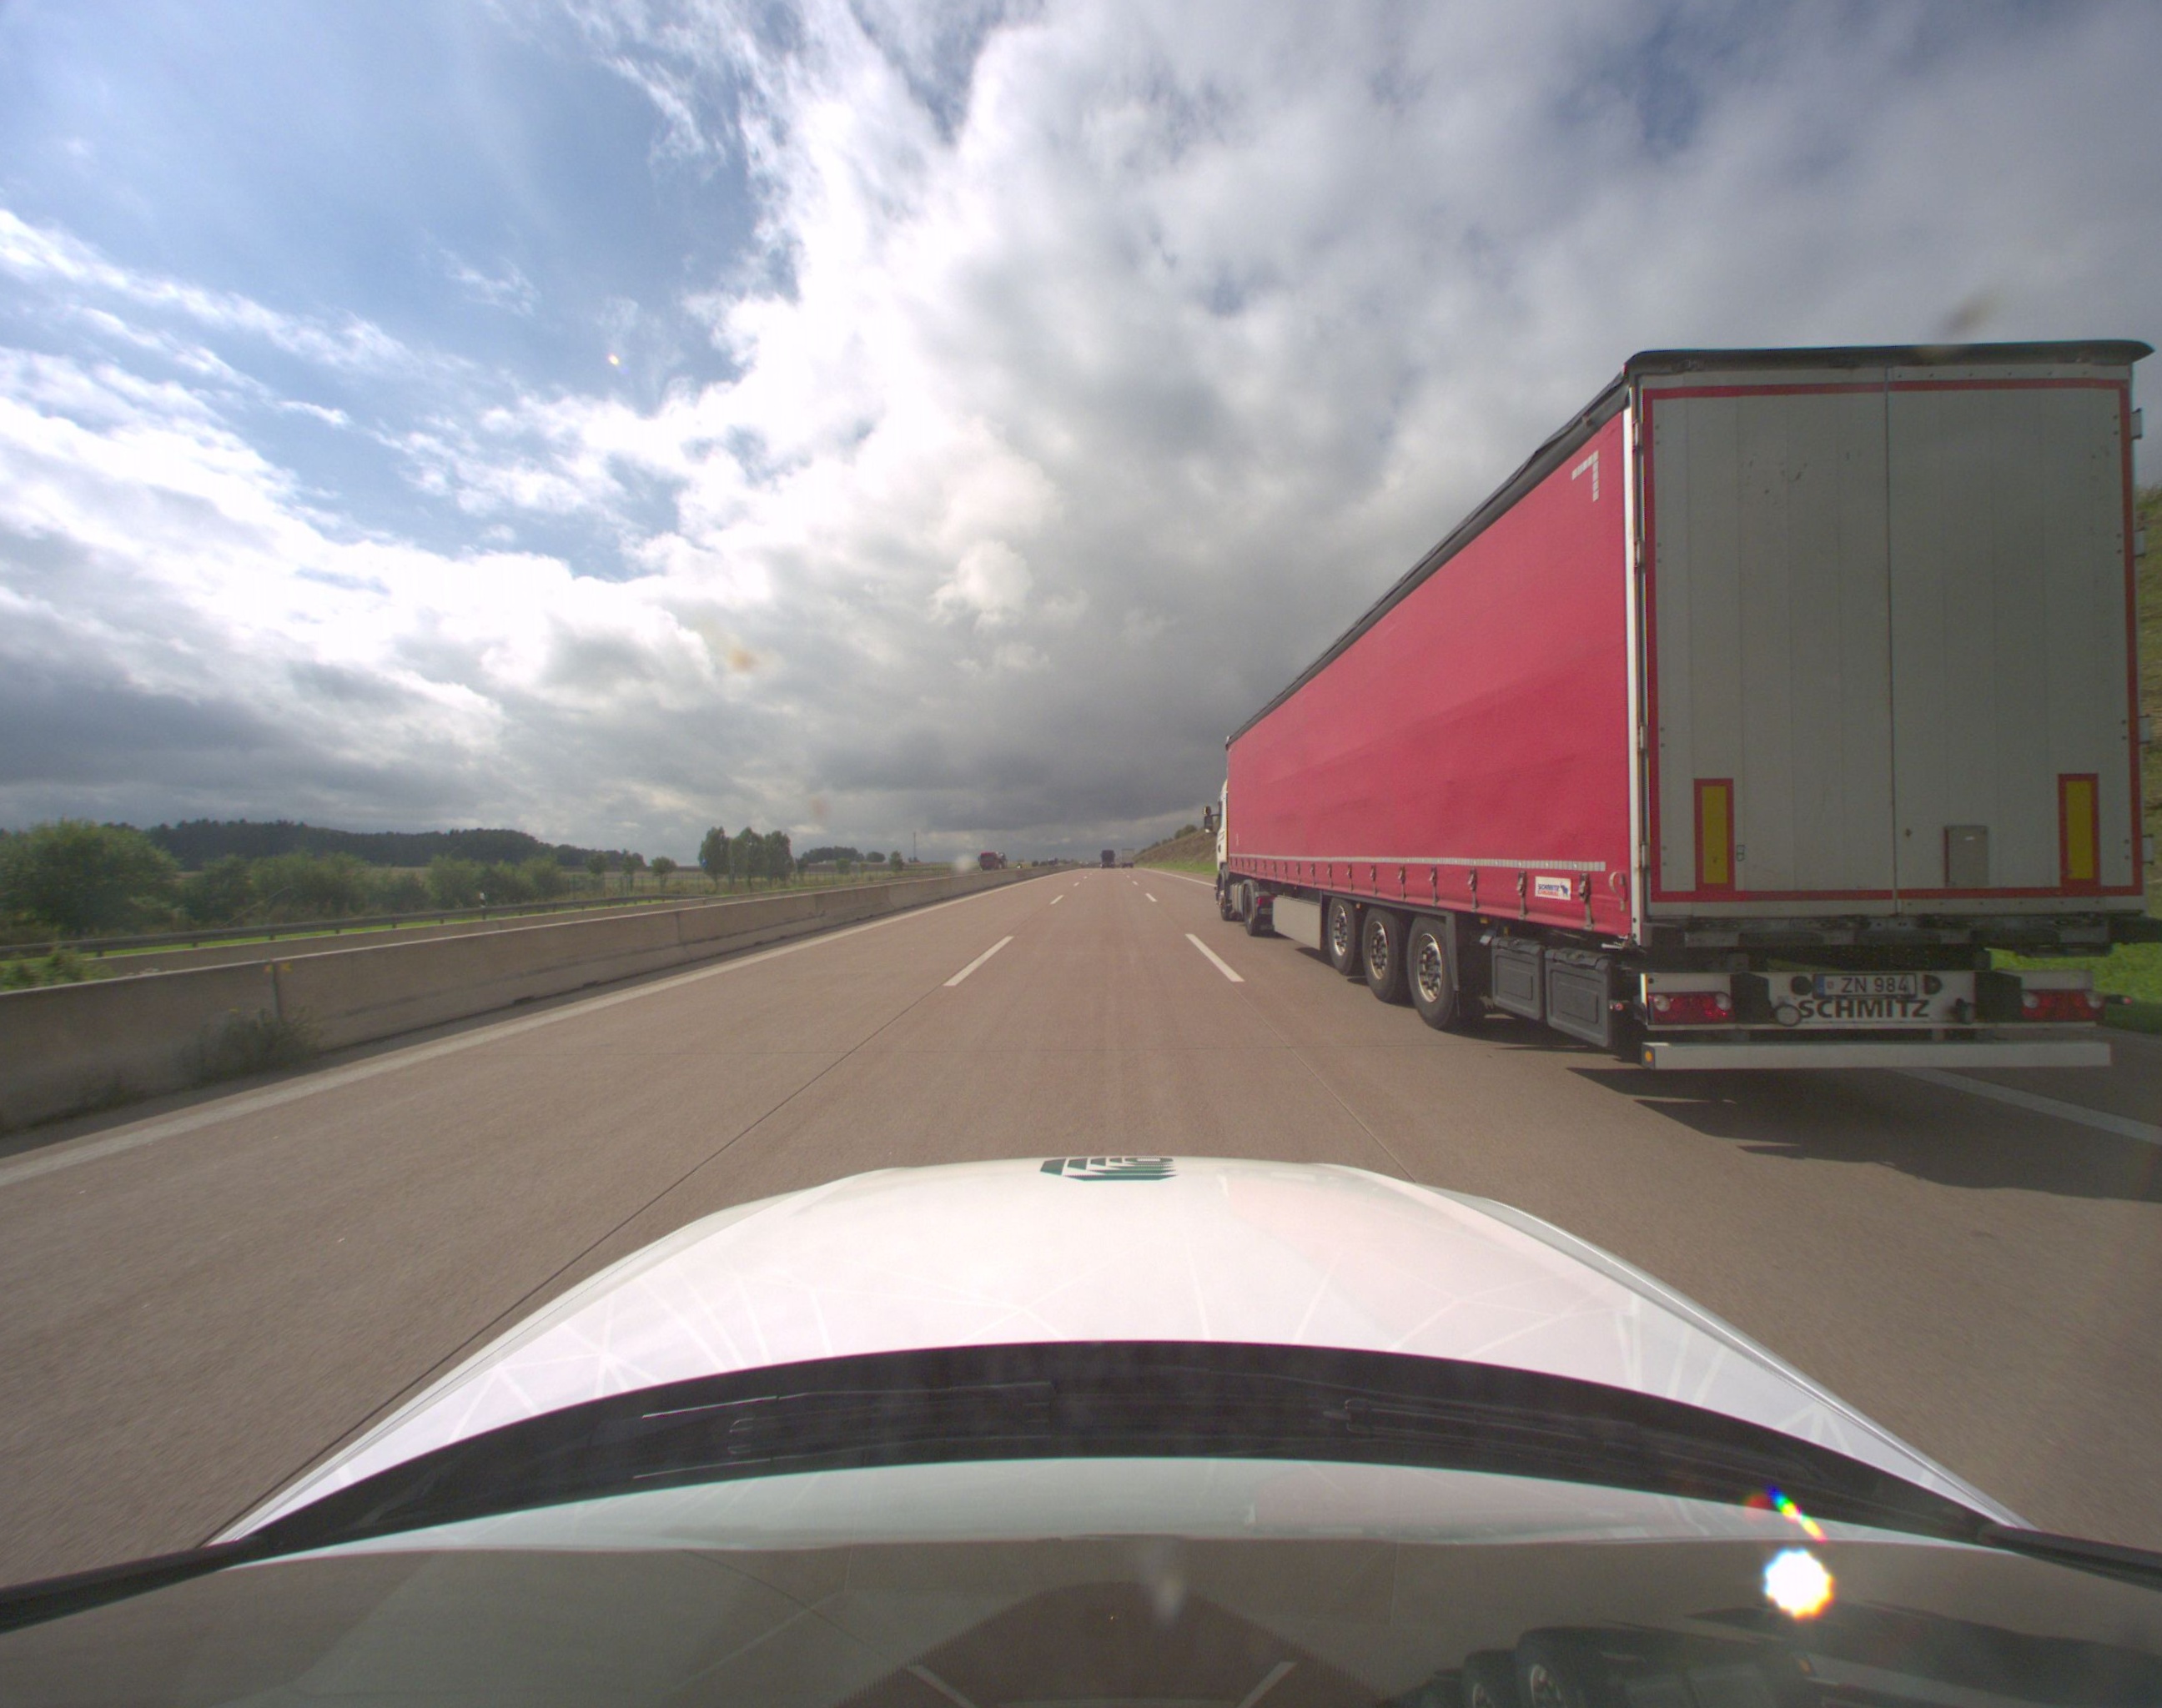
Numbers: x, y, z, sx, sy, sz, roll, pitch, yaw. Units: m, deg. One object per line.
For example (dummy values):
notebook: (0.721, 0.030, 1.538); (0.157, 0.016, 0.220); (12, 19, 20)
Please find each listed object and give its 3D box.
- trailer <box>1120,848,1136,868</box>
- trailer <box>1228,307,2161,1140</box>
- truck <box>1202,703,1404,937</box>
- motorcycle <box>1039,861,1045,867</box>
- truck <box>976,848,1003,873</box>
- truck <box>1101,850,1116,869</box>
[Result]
trailer: (9.811, 0.841, 170.372); (2.738, 4.012, 8.669); (-1, -1, 0)
trailer: (4.271, -0.608, 10.450); (2.662, 4.093, 12.791); (-1, -1, 1)
truck: (4.439, -0.583, 17.817); (2.664, 4.106, 6.617); (-1, -1, 1)
motorcycle: (-8.772, 2.227, 183.062); (0.923, 1.303, 2.344); (0, -1, 3)
truck: (-15.051, 1.050, 134.377); (3.181, 3.978, 7.735); (0, -1, 3)
truck: (5.336, 1.056, 159.290); (2.838, 3.550, 8.318); (-1, -1, 0)
